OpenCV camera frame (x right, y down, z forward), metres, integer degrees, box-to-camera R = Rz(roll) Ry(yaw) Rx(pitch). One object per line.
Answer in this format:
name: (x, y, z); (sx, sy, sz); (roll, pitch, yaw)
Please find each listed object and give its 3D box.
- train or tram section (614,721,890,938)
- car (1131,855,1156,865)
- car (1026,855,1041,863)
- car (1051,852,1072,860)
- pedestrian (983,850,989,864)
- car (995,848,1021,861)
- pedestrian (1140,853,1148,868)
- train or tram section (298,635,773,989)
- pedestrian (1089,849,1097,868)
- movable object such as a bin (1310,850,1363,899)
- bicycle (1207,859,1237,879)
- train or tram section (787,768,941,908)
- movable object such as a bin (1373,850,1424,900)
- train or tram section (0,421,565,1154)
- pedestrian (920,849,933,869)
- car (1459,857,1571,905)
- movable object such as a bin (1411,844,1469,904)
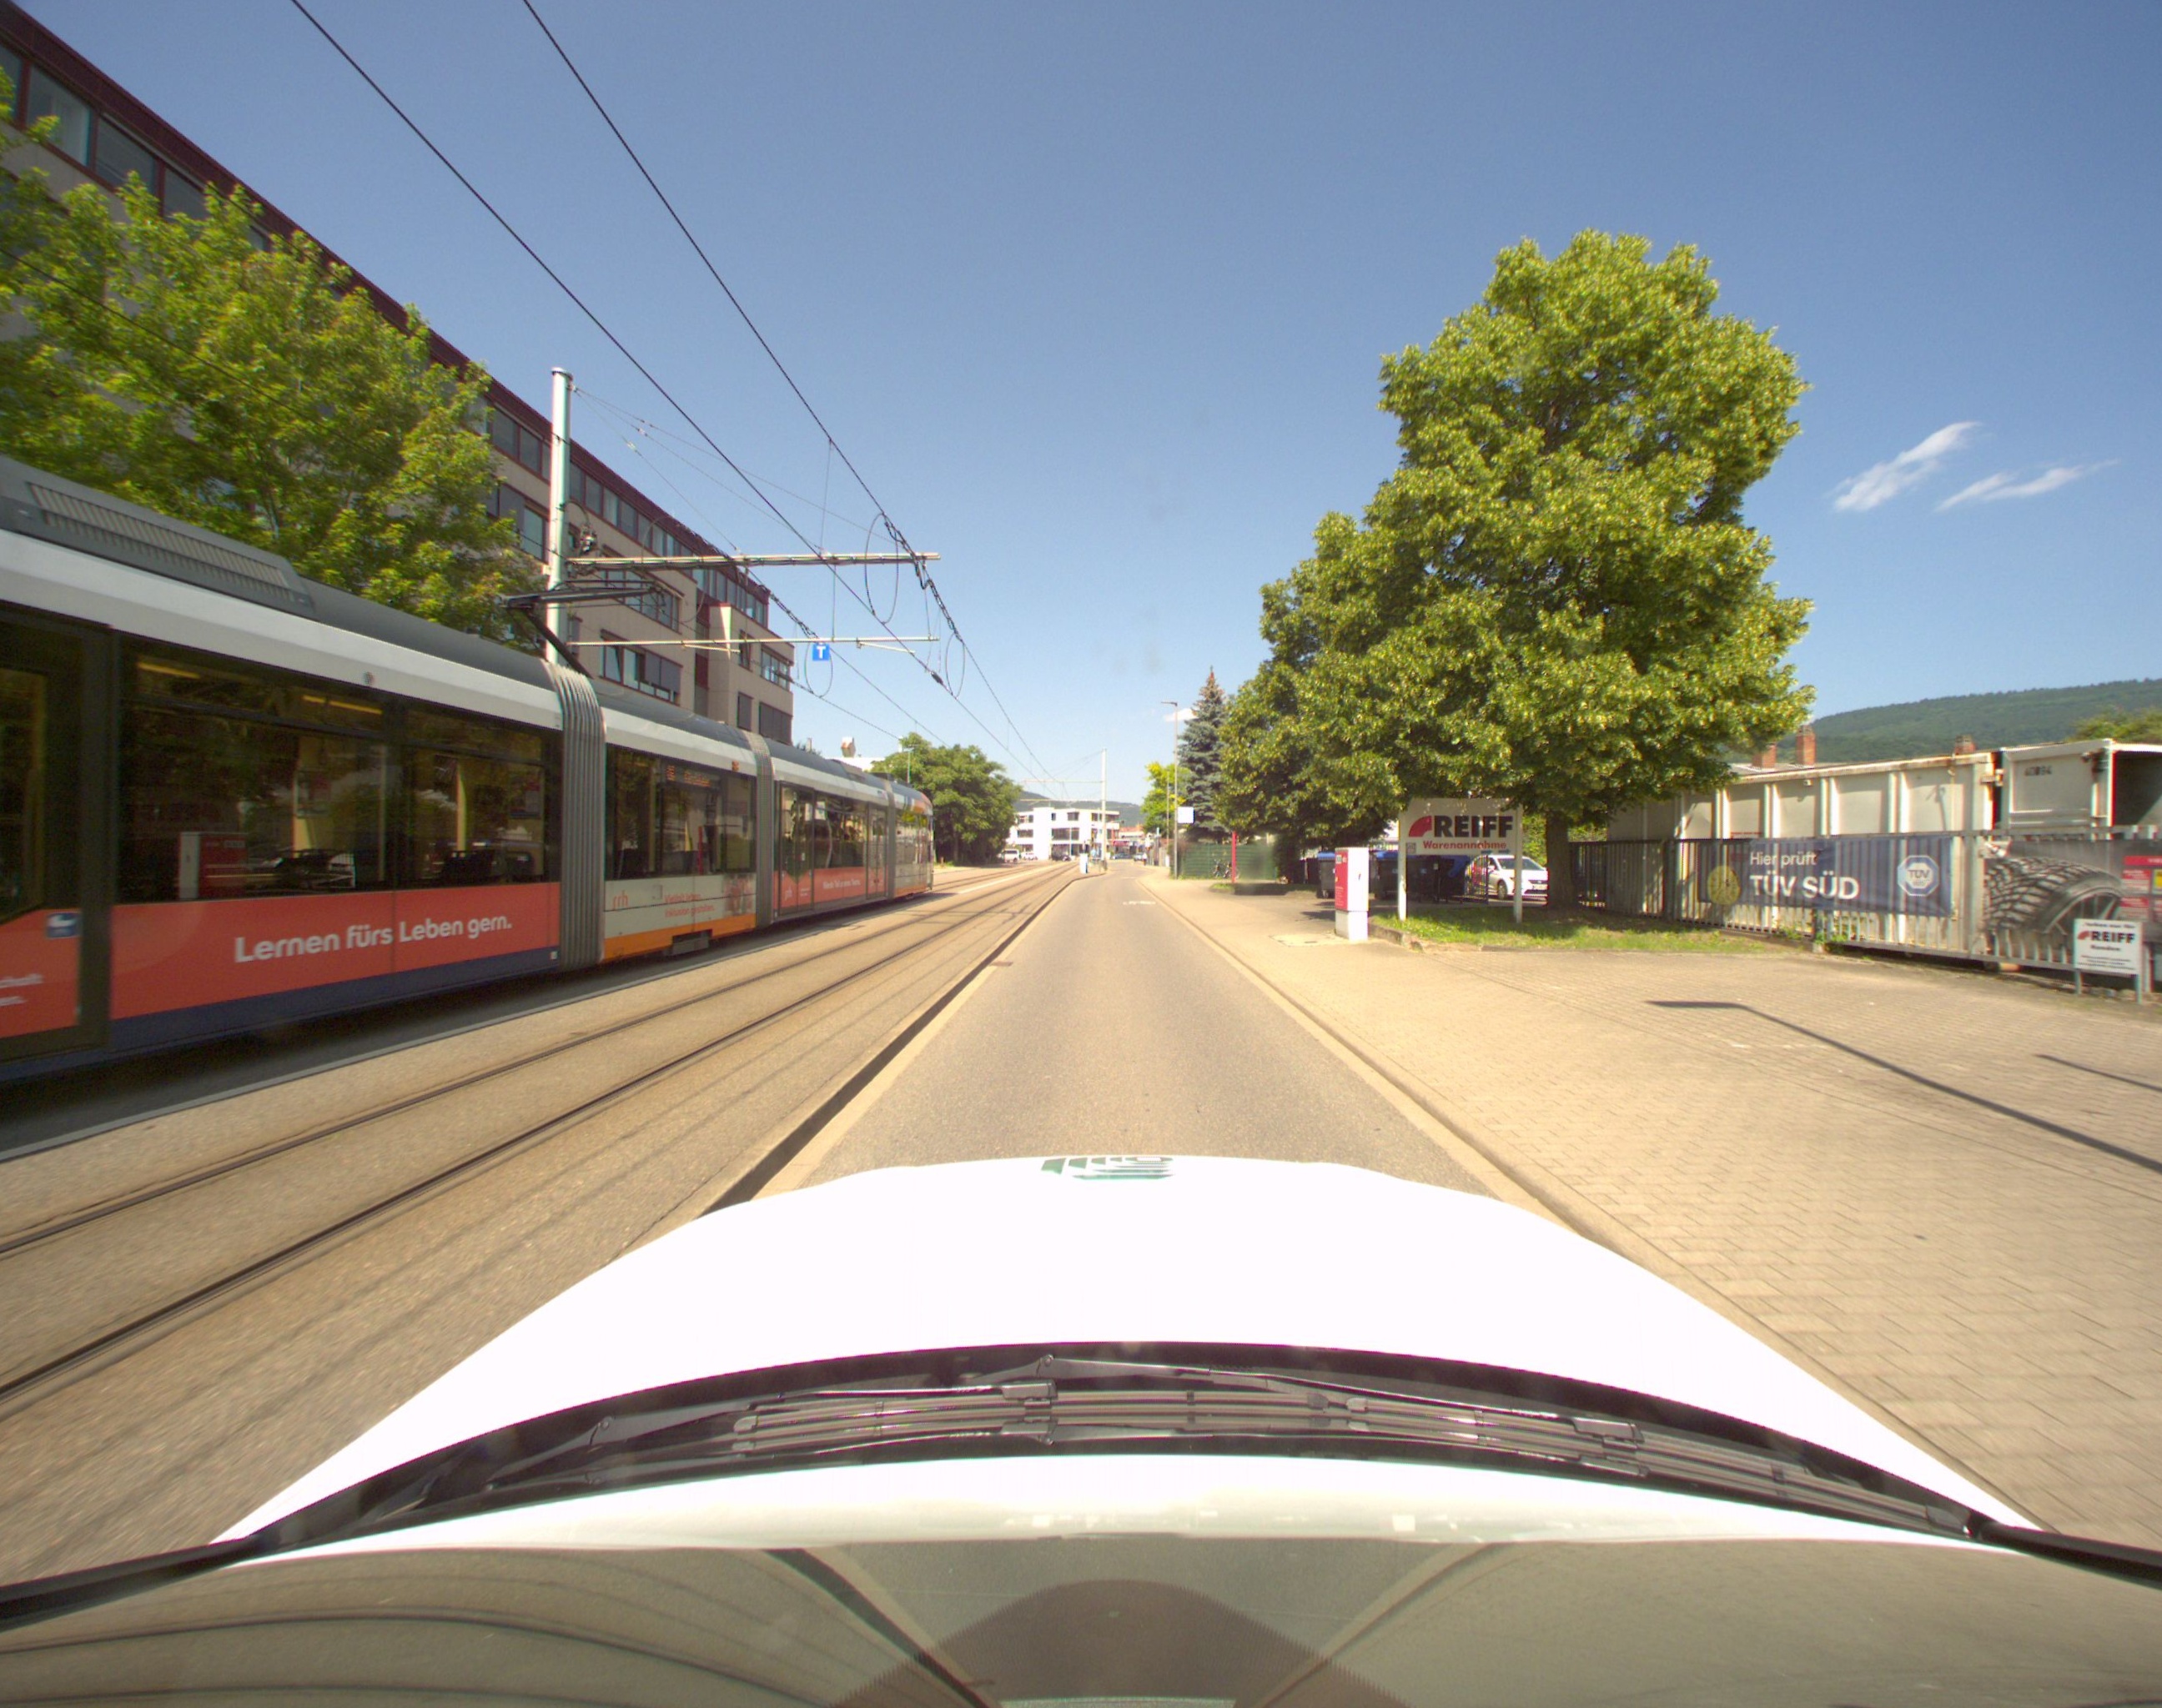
train or tram section: (-6.069, -0.380, 16.534); (2.571, 3.447, 7.138); (0, 0, 1)
car: (10.995, 1.100, 143.019); (3.999, 1.750, 1.764); (1, 0, -20)
car: (-9.878, 1.086, 167.736); (1.766, 1.647, 3.728); (0, 0, -27)
car: (-3.372, 0.372, 140.704); (3.493, 1.333, 1.688); (3, 1, 44)
pedestrian: (-10.556, 0.354, 90.643); (0.582, 1.537, 0.657); (0, 0, 1)
car: (-11.306, 0.143, 126.152); (1.842, 1.937, 4.025); (3, 1, 34)
pedestrian: (7.819, 0.809, 101.144); (0.937, 1.787, 0.953); (1, 1, 0)
train or tram section: (-6.254, -0.401, 10.438); (2.602, 3.447, 5.011); (0, 0, 1)
pedestrian: (1.180, 0.424, 78.104); (0.741, 1.740, 0.727); (0, 0, 1)
movable object such as a bin: (7.669, 0.616, 24.427); (1.371, 1.430, 0.996); (0, -2, 26)
bicycle: (7.266, 0.772, 42.052); (1.466, 0.991, 0.388); (0, -3, 0)
train or tram section: (-5.904, -0.379, 23.306); (2.571, 3.447, 6.364); (0, 0, 1)
movable object such as a bin: (9.341, 0.614, 23.944); (1.304, 1.430, 0.890); (0, -2, 26)
train or tram section: (-6.368, -0.311, 4.963); (2.602, 3.447, 5.844); (0, 0, 1)
pedestrian: (-11.828, 0.408, 62.295); (0.831, 1.537, 0.838); (0, 0, 1)
car: (14.374, 0.831, 27.260); (1.736, 1.460, 4.002); (1, 0, 2)
movable object such as a bin: (9.721, 0.545, 22.106); (0.975, 1.547, 1.319); (1, -2, -2)
